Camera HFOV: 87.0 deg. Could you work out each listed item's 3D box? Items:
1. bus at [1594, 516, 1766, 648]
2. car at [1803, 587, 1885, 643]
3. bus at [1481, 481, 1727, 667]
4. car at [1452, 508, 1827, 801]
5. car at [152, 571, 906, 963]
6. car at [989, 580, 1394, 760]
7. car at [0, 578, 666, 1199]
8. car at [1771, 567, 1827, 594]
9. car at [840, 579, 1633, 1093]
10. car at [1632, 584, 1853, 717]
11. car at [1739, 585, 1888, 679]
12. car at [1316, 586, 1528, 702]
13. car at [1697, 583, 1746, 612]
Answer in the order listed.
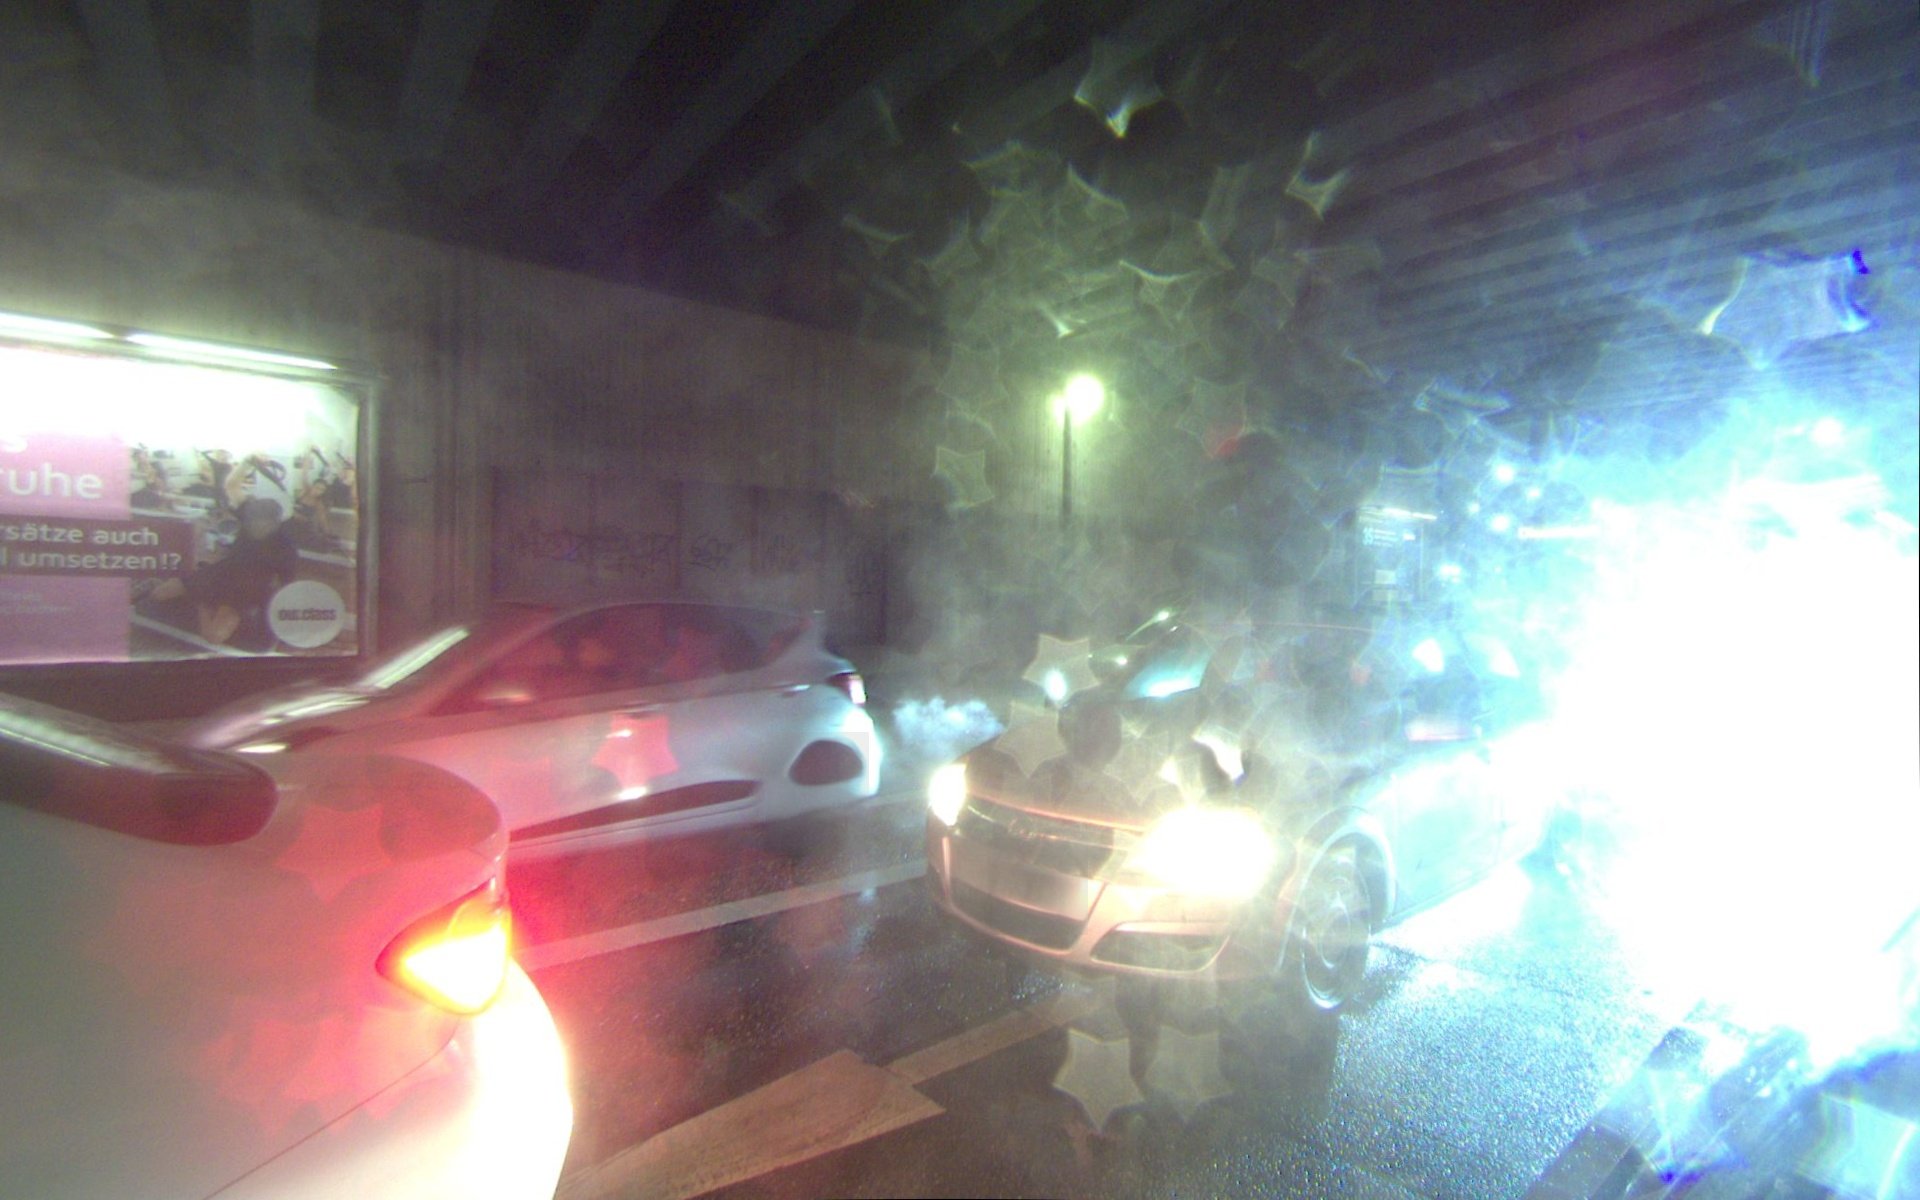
[{"bbox_3d":[20.615,-0.435,28.660,2.768,3.163,9.610,0,0,43],"label":"bus"},{"bbox_3d":[25.696,0.390,29.383,1.678,1.490,3.938,0,0,43],"label":"car"},{"bbox_3d":[14.071,-0.444,21.630,2.768,3.163,9.610,0,0,43],"label":"bus"},{"bbox_3d":[6.517,0.367,9.507,4.274,2.115,1.996,-1,0,-43],"label":"car"},{"bbox_3d":[-2.181,0.607,5.615,3.532,1.477,1.636,-1,0,-42],"label":"car"},{"bbox_3d":[2.493,0.559,10.133,4.489,1.408,1.754,1,0,-43],"label":"car"},{"bbox_3d":[-2.673,0.695,0.999,4.273,1.422,1.719,-1,0,-41],"label":"car"},{"bbox_3d":[64.218,-1.466,77.557,1.974,1.950,3.975,0,0,19],"label":"car"},{"bbox_3d":[1.565,0.631,4.831,3.931,1.384,1.791,-2,2,-41],"label":"car"},{"bbox_3d":[10.609,0.559,13.628,3.705,1.531,1.865,-1,0,-44],"label":"car"},{"bbox_3d":[15.407,0.489,18.205,3.933,1.522,1.627,-1,0,-43],"label":"car"},{"bbox_3d":[6.911,0.552,14.966,1.750,1.449,3.701,2,1,43],"label":"car"},{"bbox_3d":[44.008,-0.176,58.553,1.729,1.610,3.958,0,0,30],"label":"car"}]
